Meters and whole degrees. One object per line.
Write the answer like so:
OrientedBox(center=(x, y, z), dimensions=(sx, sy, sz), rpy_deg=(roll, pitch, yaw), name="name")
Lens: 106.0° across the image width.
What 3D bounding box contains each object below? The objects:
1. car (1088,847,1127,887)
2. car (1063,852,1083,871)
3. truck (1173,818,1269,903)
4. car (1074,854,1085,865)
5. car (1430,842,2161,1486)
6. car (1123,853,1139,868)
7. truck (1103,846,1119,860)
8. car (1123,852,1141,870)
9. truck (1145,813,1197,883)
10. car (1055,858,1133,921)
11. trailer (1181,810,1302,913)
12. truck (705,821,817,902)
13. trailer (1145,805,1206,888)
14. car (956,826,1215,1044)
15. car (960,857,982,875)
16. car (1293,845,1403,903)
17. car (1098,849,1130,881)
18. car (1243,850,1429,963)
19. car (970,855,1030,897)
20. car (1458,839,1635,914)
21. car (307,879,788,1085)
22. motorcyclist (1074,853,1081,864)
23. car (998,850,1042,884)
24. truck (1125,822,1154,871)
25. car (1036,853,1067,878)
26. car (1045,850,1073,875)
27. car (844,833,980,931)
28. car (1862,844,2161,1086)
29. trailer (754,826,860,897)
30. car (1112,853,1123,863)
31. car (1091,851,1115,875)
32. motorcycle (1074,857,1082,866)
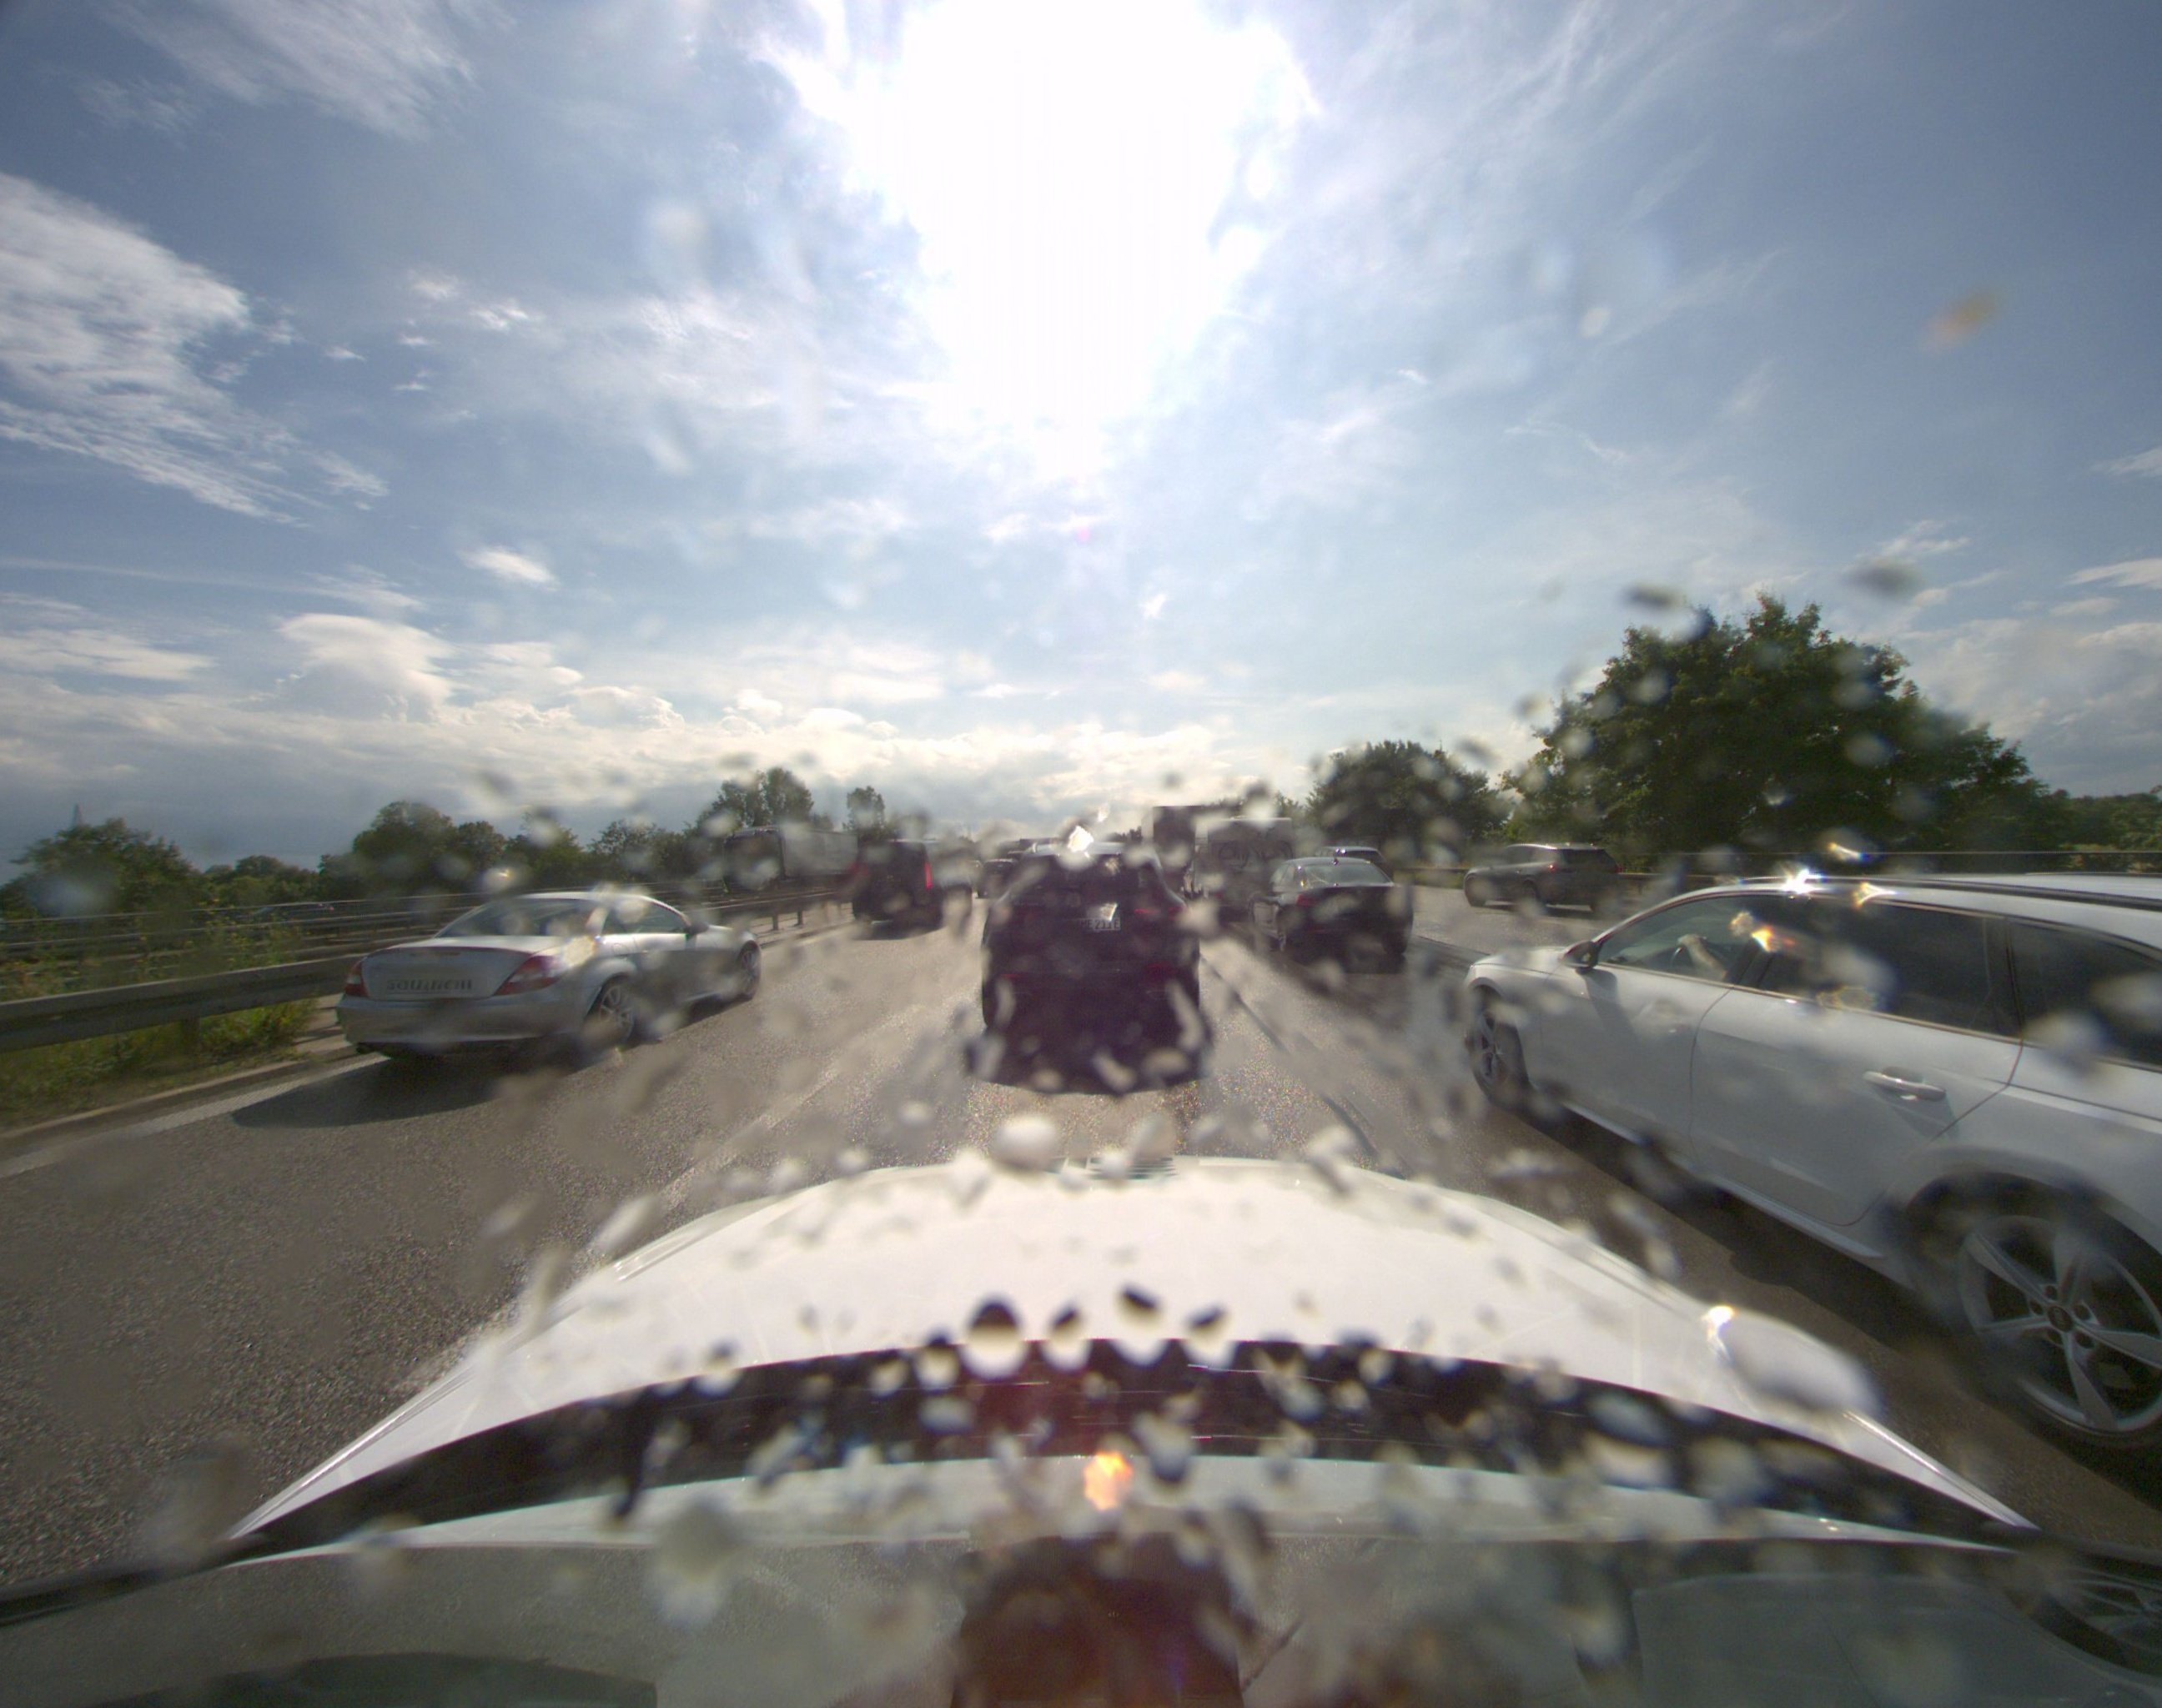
OrientedBox(center=(1.481, 0.666, 43.707), dimensions=(1.985, 2.014, 4.003), rpy_deg=(0, 0, 3), name="car")
OrientedBox(center=(-0.858, 0.840, 92.461), dimensions=(1.985, 2.013, 4.003), rpy_deg=(2, 0, 3), name="car")
OrientedBox(center=(4.425, 0.217, 26.804), dimensions=(2.365, 2.477, 5.758), rpy_deg=(0, 0, 2), name="truck")
OrientedBox(center=(-0.294, 1.074, 158.869), dimensions=(1.987, 2.013, 3.999), rpy_deg=(3, 0, 0), name="car")
OrientedBox(center=(3.303, 0.720, 3.306), dimensions=(1.821, 1.425, 4.509), rpy_deg=(1, -1, -1), name="car")
OrientedBox(center=(6.836, 0.907, 111.716), dimensions=(1.985, 2.013, 4.003), rpy_deg=(3, 0, 3), name="car")
OrientedBox(center=(8.520, -0.241, 232.481), dimensions=(3.833, 4.017, 11.212), rpy_deg=(0, 0, -2), name="truck")
OrientedBox(center=(5.756, 0.797, 92.455), dimensions=(1.985, 2.014, 4.003), rpy_deg=(0, 0, 3), name="car")
OrientedBox(center=(5.568, -0.356, 51.220), dimensions=(2.982, 4.166, 5.246), rpy_deg=(-1, 0, 4), name="truck")
OrientedBox(center=(0.398, 0.814, 20.581), dimensions=(1.750, 1.387, 3.948), rpy_deg=(-1, 0, 3), name="car")
OrientedBox(center=(4.292, 0.194, 23.027), dimensions=(2.365, 2.483, 6.526), rpy_deg=(0, 0, 2), name="trailer")
OrientedBox(center=(-18.081, 0.420, 46.680), dimensions=(2.993, 4.103, 7.689), rpy_deg=(-3, -1, 2), name="truck")
OrientedBox(center=(5.138, -0.372, 45.645), dimensions=(2.993, 4.166, 8.545), rpy_deg=(-1, 0, 4), name="trailer")
OrientedBox(center=(0.112, 0.645, 8.549), dimensions=(1.986, 1.661, 4.408), rpy_deg=(-1, 0, 2), name="car")
OrientedBox(center=(-12.789, 1.411, 94.734), dimensions=(1.987, 2.014, 3.999), rpy_deg=(-2, -1, 0), name="car")
OrientedBox(center=(8.069, 0.558, 25.126), dimensions=(1.986, 1.581, 4.655), rpy_deg=(-1, 0, 2), name="car")
OrientedBox(center=(2.247, 0.733, 55.237), dimensions=(1.985, 2.013, 4.003), rpy_deg=(3, 0, 3), name="car")
OrientedBox(center=(3.844, 0.725, 13.080), dimensions=(1.840, 1.464, 4.259), rpy_deg=(-2, 0, 3), name="car")
OrientedBox(center=(-3.181, 0.831, 32.824), dimensions=(1.750, 1.516, 4.212), rpy_deg=(-1, 0, 3), name="car")
OrientedBox(center=(10.966, 0.493, 19.580), dimensions=(1.743, 1.586, 4.284), rpy_deg=(0, 0, -1), name="car")
OrientedBox(center=(-4.435, 0.950, 7.674), dimensions=(1.718, 1.278, 4.065), rpy_deg=(-1, 0, 2), name="car")
OrientedBox(center=(-0.526, 0.714, 125.216), dimensions=(1.059, 1.718, 0.785), rpy_deg=(-1, -1, 2), name="motorcyclist")
OrientedBox(center=(-3.225, 0.685, 43.835), dimensions=(1.987, 1.720, 4.000), rpy_deg=(0, 0, 1), name="car")
OrientedBox(center=(5.913, -0.730, 83.492), dimensions=(2.493, 4.830, 7.544), rpy_deg=(0, -1, 1), name="truck")
OrientedBox(center=(-2.148, 0.813, 60.312), dimensions=(1.985, 1.772, 4.003), rpy_deg=(-1, 0, 3), name="car")
OrientedBox(center=(-1.900, 0.711, 71.460), dimensions=(1.985, 2.013, 4.003), rpy_deg=(3, 0, 3), name="car")
OrientedBox(center=(-3.883, 0.590, 19.791), dimensions=(1.986, 2.013, 5.272), rpy_deg=(-1, 0, 2), name="car")
OrientedBox(center=(7.129, 0.636, 4.346), dimensions=(1.744, 1.410, 4.514), rpy_deg=(-1, 0, 3), name="car")
OrientedBox(center=(-17.844, 0.472, 53.960), dimensions=(2.993, 4.103, 10.480), rpy_deg=(-3, -1, 2), name="trailer")
OrientedBox(center=(7.267, 0.796, 161.588), dimensions=(1.870, 1.760, 3.998), rpy_deg=(0, 0, -1), name="car")
OrientedBox(center=(1.935, 0.757, 72.076), dimensions=(1.985, 2.014, 4.003), rpy_deg=(-1, 0, 3), name="car")
OrientedBox(center=(-0.526, 1.157, 125.140), dimensions=(1.069, 1.271, 2.691), rpy_deg=(-1, 0, 2), name="motorcycle")
